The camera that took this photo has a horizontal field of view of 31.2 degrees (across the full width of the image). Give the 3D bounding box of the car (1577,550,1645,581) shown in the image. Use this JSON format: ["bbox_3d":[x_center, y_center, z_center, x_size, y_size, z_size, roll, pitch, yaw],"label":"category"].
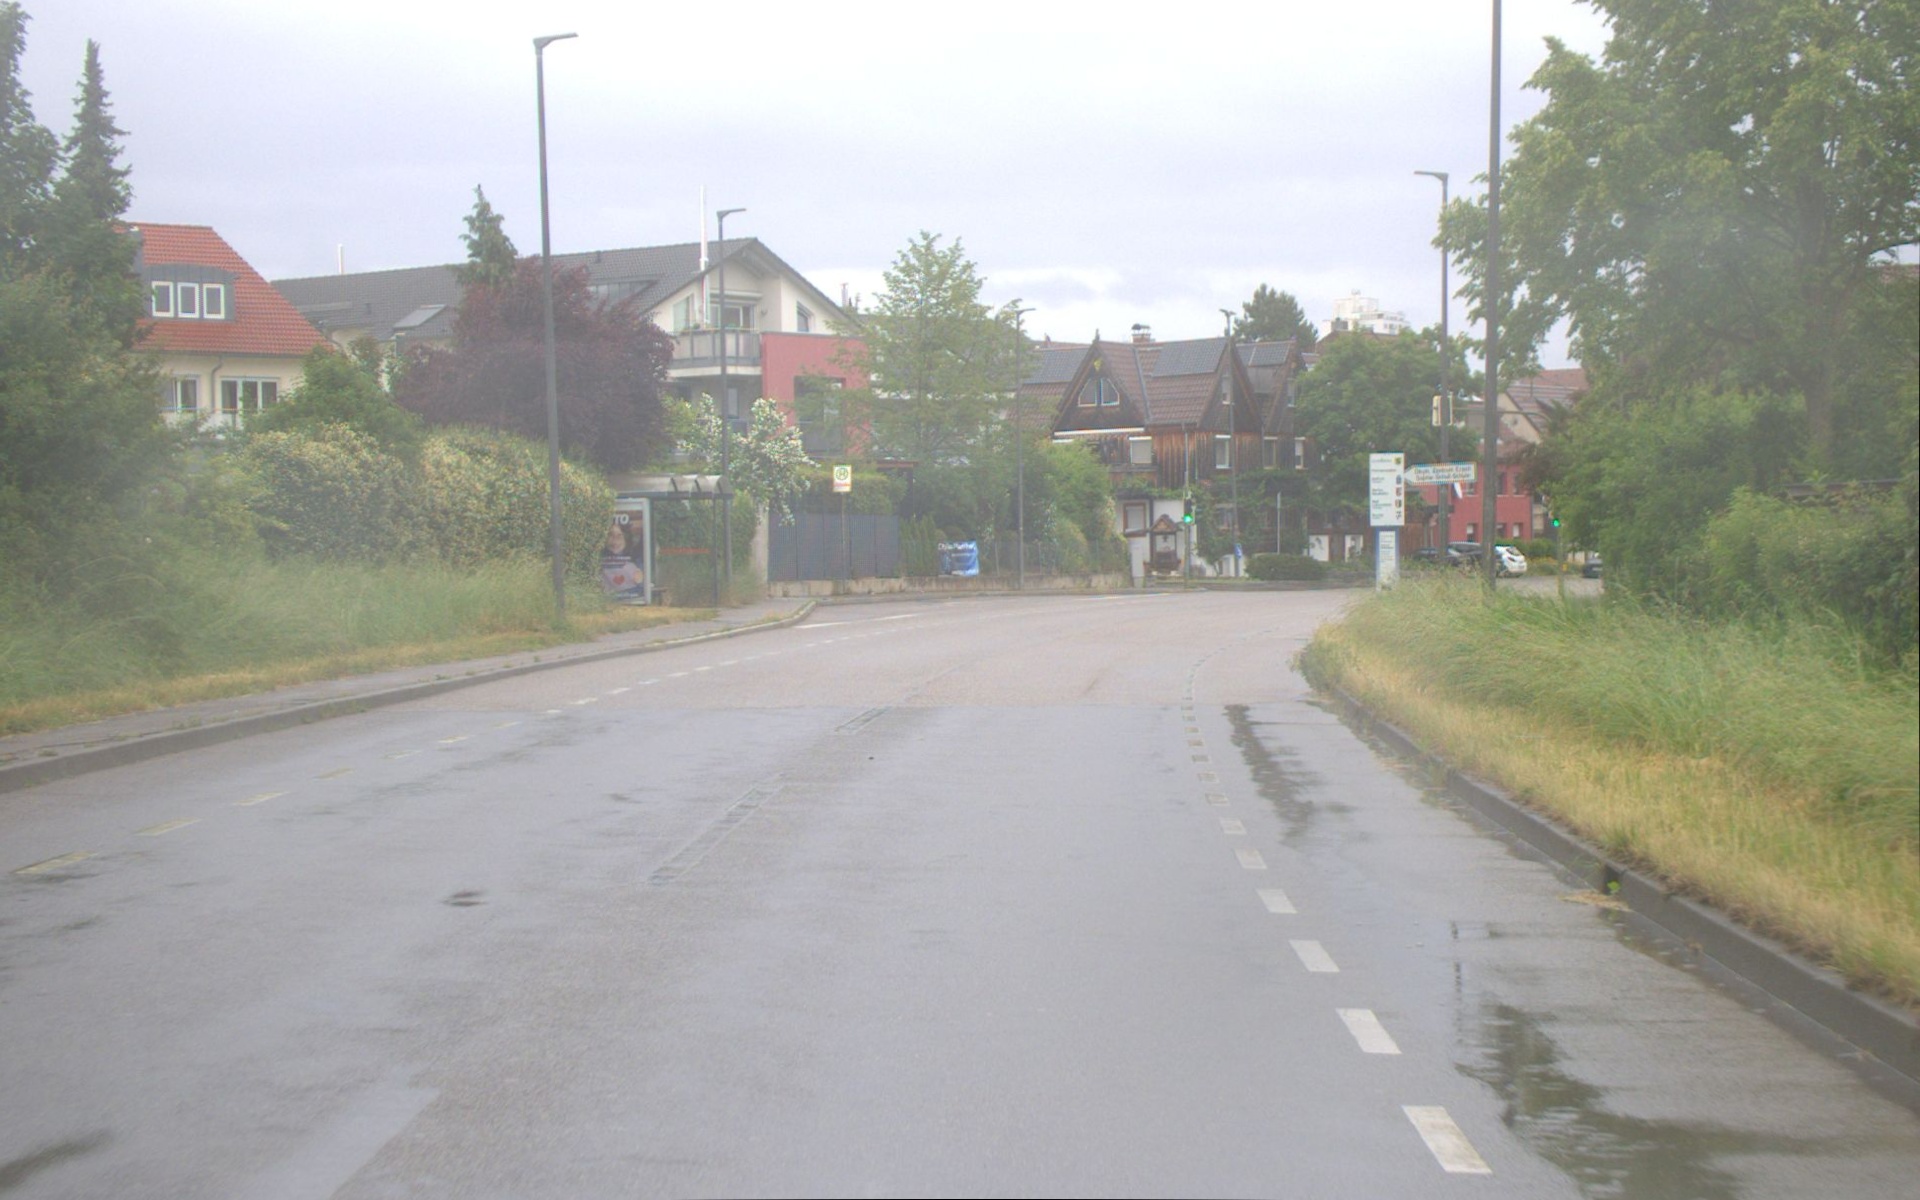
[{"bbox_3d":[29.695,-1.569,156.834,1.630,1.351,4.103,2,2,32],"label":"car"}]

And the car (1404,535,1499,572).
[{"bbox_3d":[21.373,-2.022,149.566,3.583,1.501,1.851,3,2,37],"label":"car"}]
